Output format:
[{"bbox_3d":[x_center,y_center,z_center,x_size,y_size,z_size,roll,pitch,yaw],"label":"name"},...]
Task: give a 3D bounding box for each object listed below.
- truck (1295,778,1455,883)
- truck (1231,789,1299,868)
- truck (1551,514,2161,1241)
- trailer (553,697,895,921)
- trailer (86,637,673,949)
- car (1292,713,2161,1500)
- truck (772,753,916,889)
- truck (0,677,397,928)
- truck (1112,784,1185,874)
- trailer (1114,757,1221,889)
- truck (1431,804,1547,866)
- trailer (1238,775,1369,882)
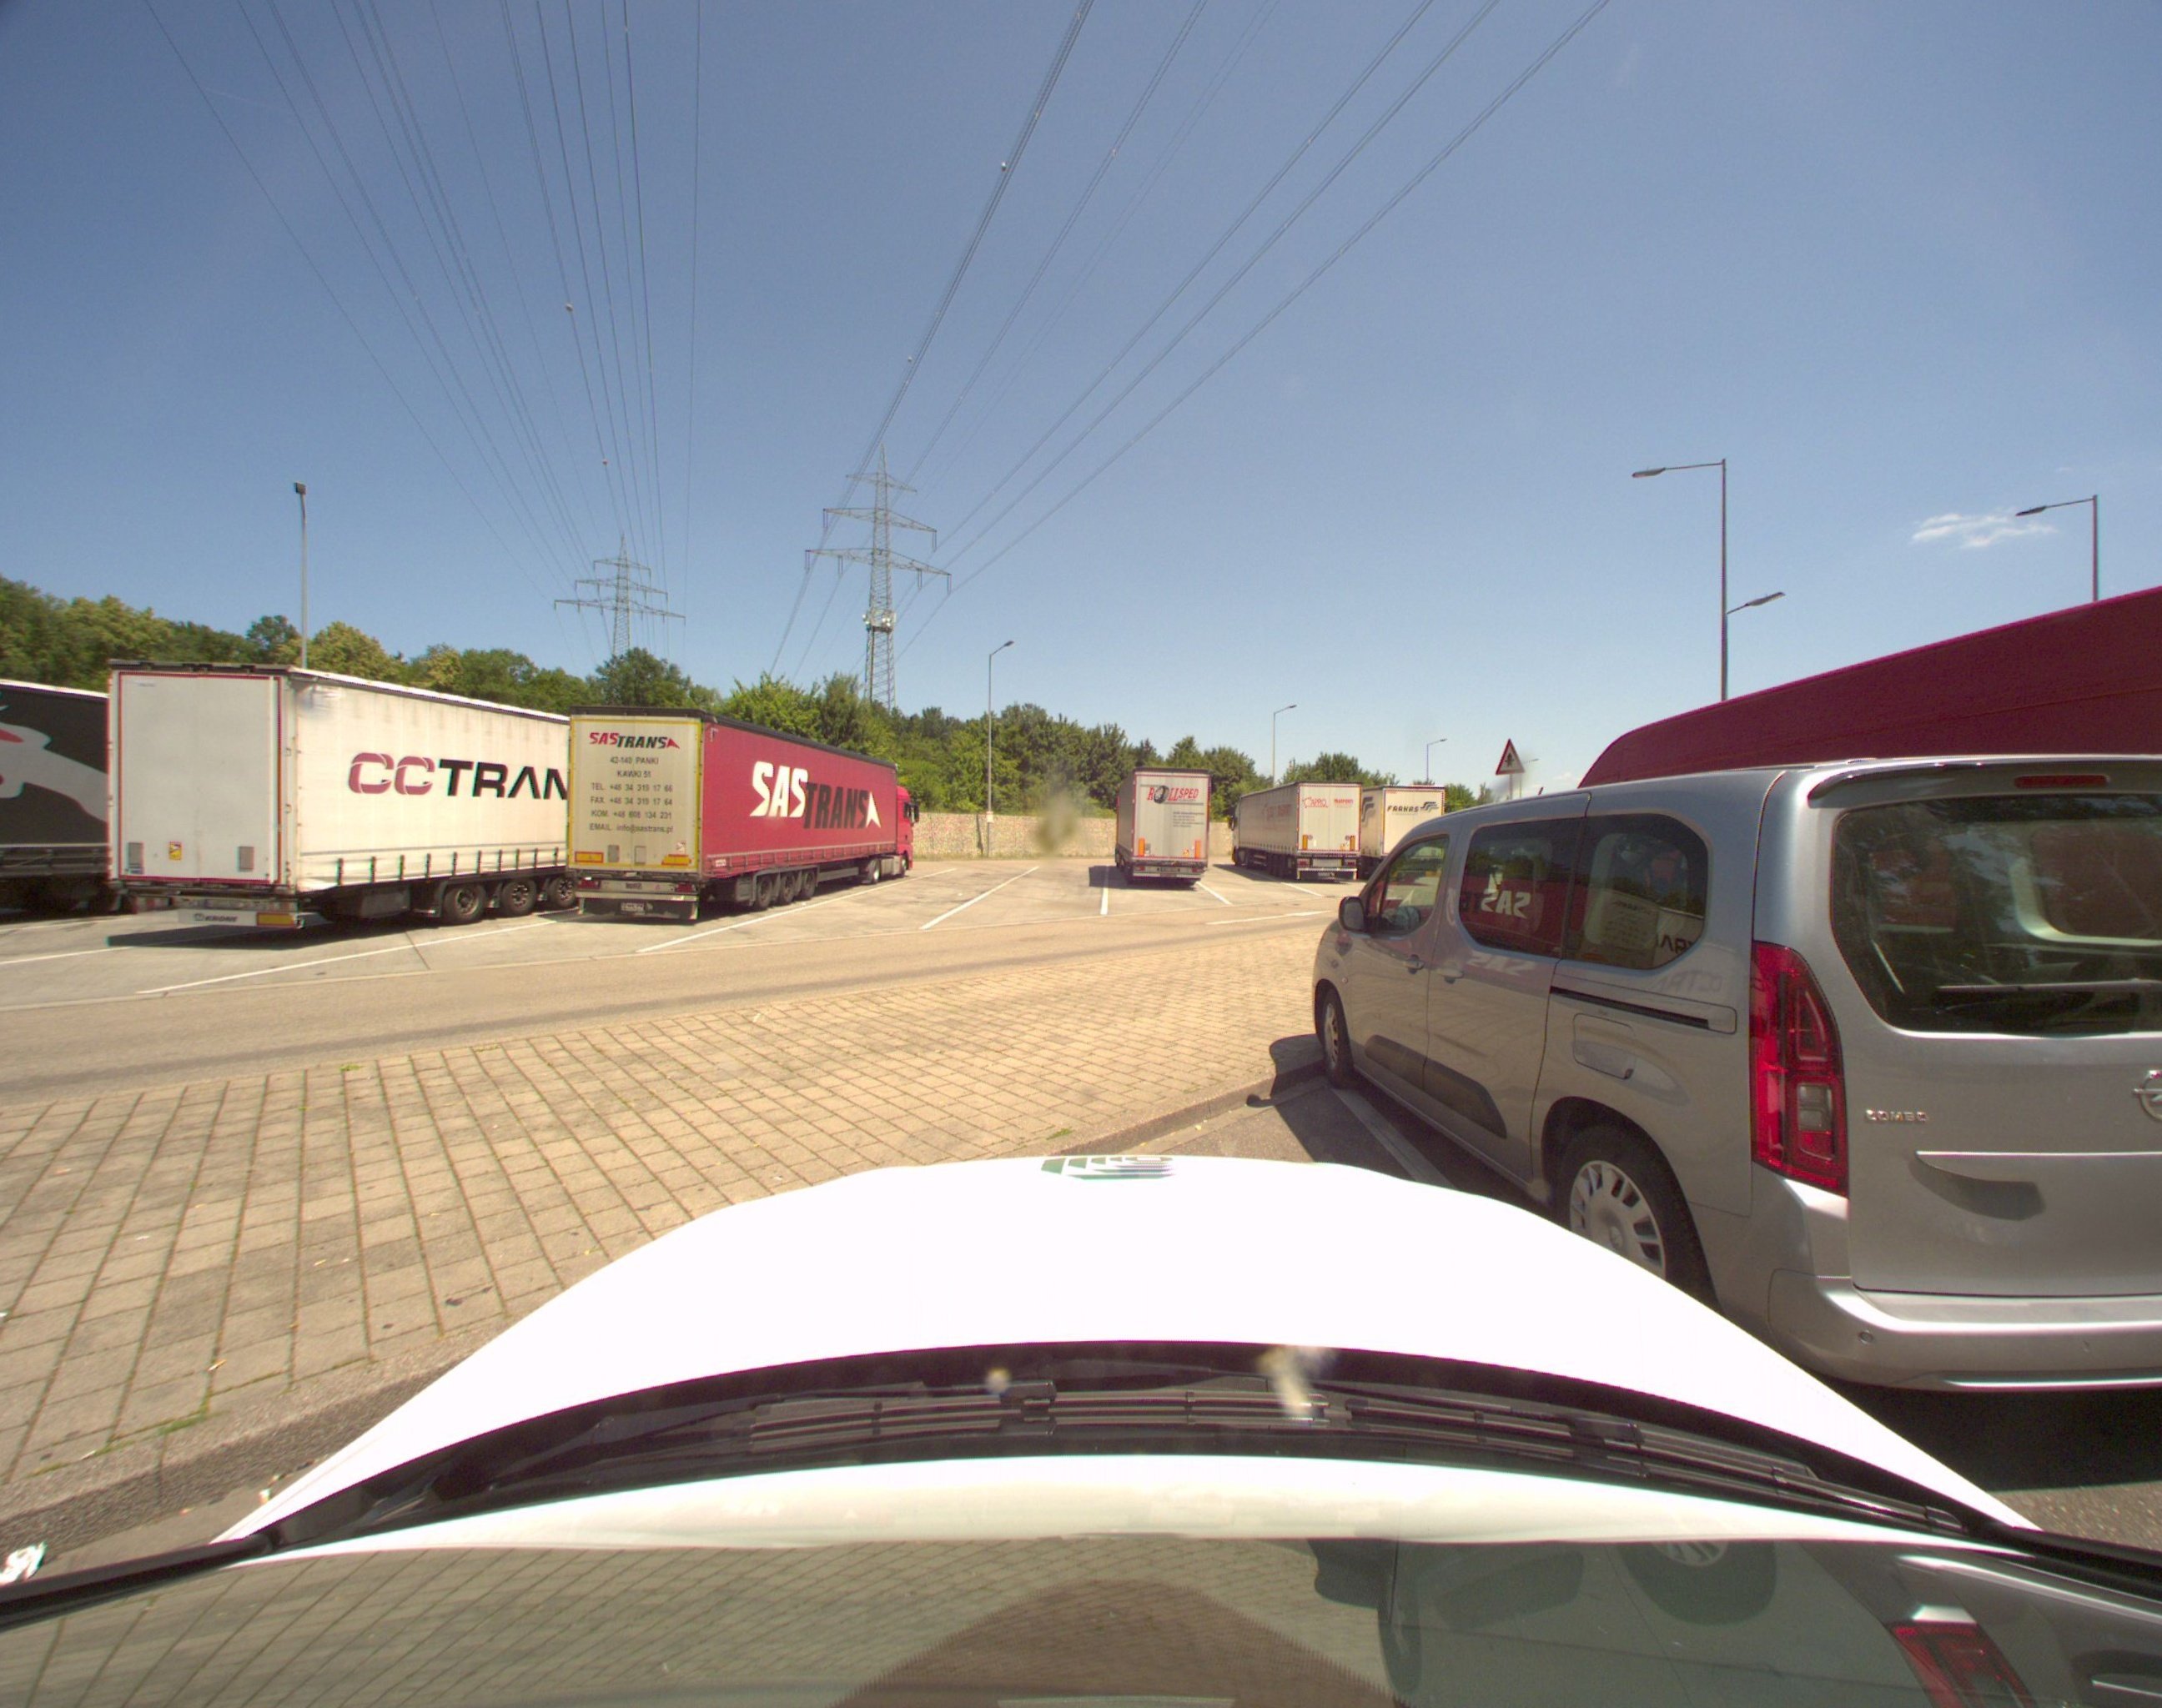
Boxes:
[{"bbox_3d":[13.578,-1.062,39.653,2.894,4.124,14.533,2,1,2],"label":"truck"},{"bbox_3d":[10.131,-1.399,45.411,2.747,4.124,5.286,-1,1,2],"label":"truck"},{"bbox_3d":[5.102,0.048,4.872,1.983,2.623,5.312,-1,1,6],"label":"truck"},{"bbox_3d":[-8.043,-0.922,21.510,2.739,4.057,13.292,-1,1,2],"label":"trailer"},{"bbox_3d":[-12.096,-0.900,16.071,2.734,4.263,9.740,0,1,3],"label":"trailer"},{"bbox_3d":[2.473,0.527,3.850,1.821,1.753,3.998,-1,1,-2],"label":"car"},{"bbox_3d":[-7.836,-1.056,28.014,2.733,4.081,6.832,-1,1,1],"label":"truck"},{"bbox_3d":[-18.509,-0.861,15.965,2.627,4.018,8.640,-1,1,2],"label":"truck"},{"bbox_3d":[3.131,-1.226,39.510,3.016,3.928,6.848,1,2,1],"label":"truck"},{"bbox_3d":[3.048,-1.192,32.738,3.059,4.227,12.811,1,2,1],"label":"trailer"},{"bbox_3d":[24.466,-1.133,49.434,3.013,3.437,8.534,-1,1,2],"label":"truck"},{"bbox_3d":[9.943,-1.108,38.408,2.865,4.124,13.577,0,1,2],"label":"trailer"}]
